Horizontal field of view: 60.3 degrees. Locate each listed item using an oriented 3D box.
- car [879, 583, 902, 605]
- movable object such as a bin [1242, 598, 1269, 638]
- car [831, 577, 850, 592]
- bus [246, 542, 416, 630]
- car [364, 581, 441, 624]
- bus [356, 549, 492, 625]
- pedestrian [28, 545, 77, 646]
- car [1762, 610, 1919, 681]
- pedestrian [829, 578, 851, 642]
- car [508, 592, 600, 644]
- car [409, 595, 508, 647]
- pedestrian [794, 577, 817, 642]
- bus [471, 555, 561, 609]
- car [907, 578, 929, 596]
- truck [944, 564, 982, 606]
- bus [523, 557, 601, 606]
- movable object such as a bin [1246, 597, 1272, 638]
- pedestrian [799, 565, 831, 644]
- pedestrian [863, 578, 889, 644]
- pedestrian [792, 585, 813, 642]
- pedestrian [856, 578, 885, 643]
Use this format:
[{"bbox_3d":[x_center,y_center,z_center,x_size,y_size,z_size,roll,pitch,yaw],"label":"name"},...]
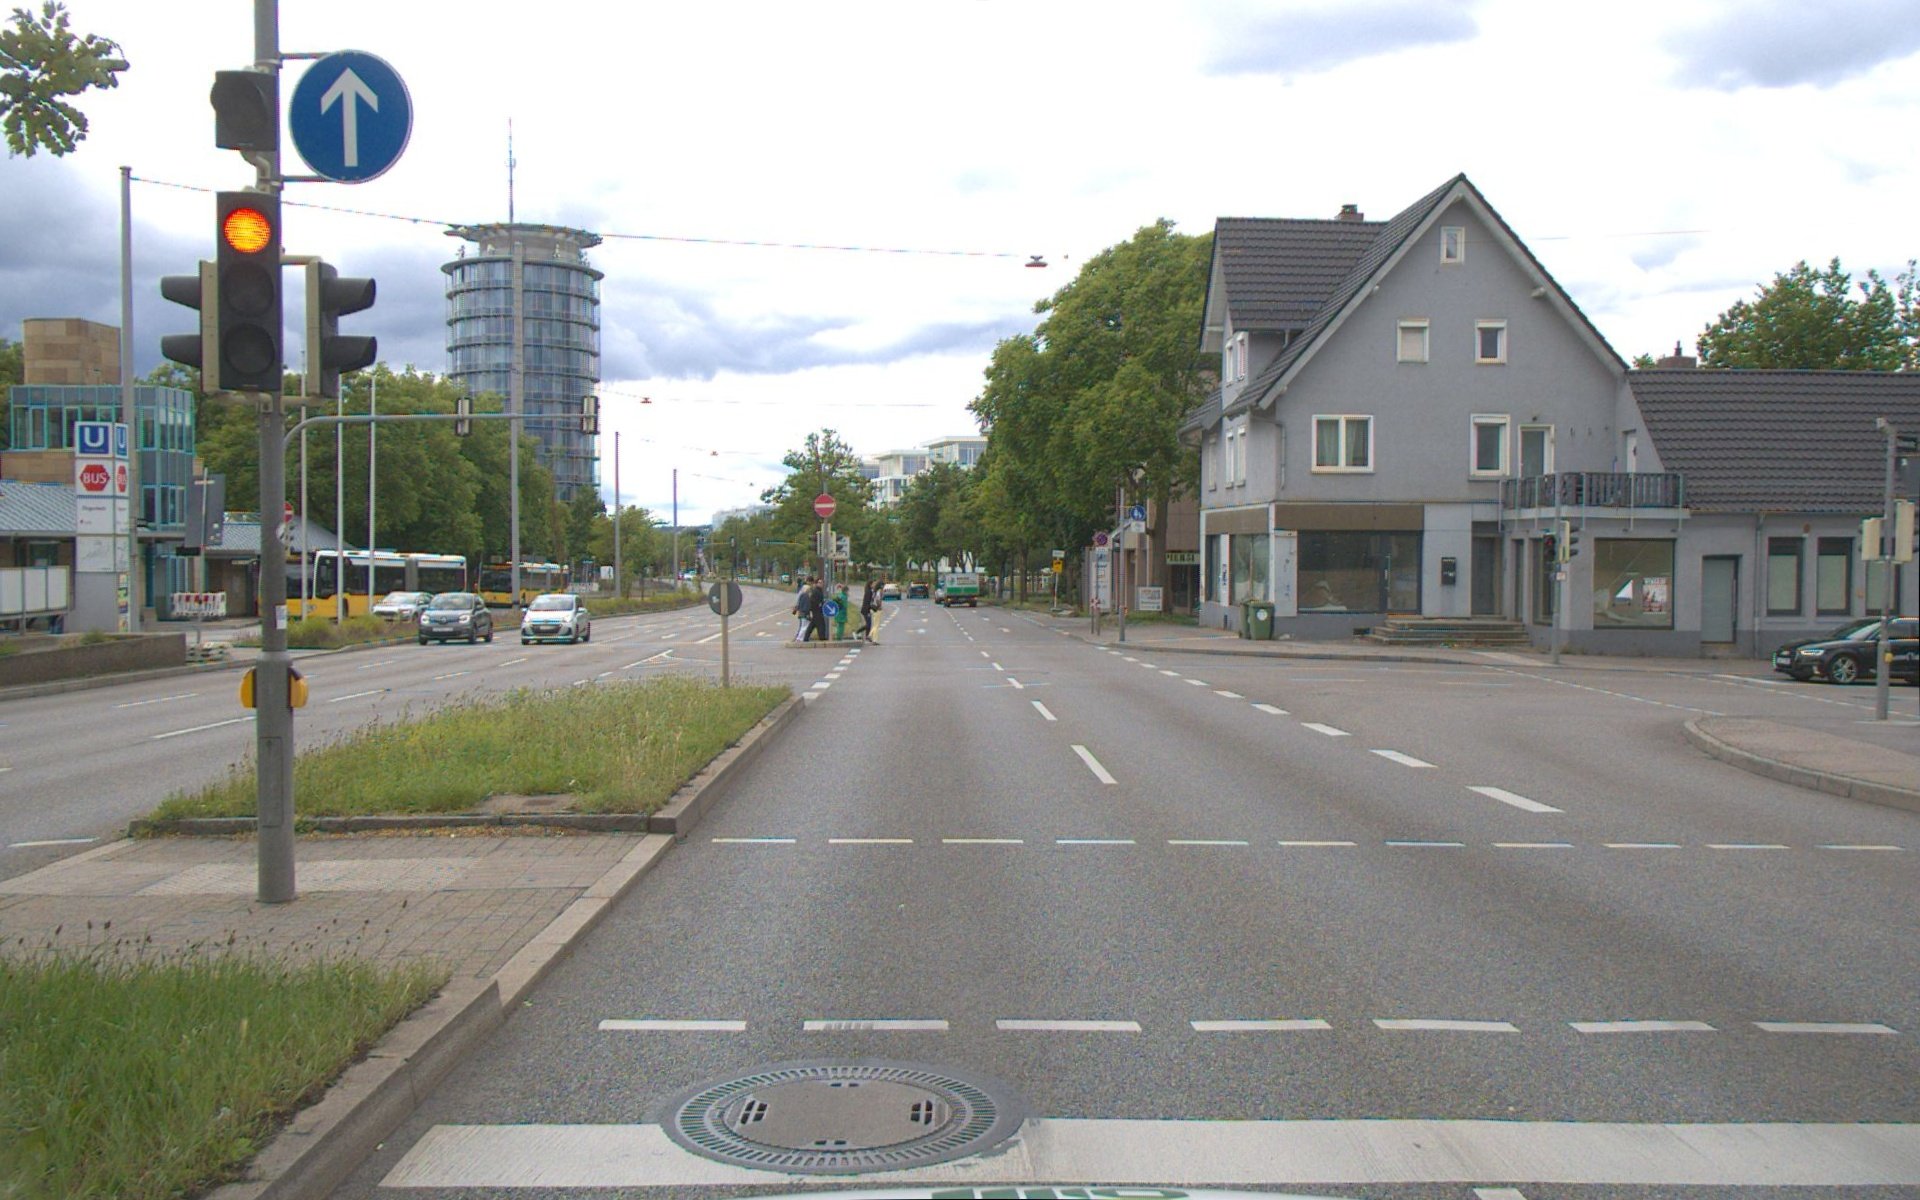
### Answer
[{"bbox_3d":[-6.014,-0.551,143.289,1.953,1.862,3.999,0,0,-1],"label":"car"},{"bbox_3d":[7.947,0.472,44.529,0.603,1.061,0.589,1,0,1],"label":"movable object such as a bin"},{"bbox_3d":[-12.736,-1.627,175.953,1.954,1.545,3.996,0,1,-5],"label":"car"},{"bbox_3d":[-27.042,-0.583,71.840,2.772,3.490,10.737,0,0,3],"label":"bus"},{"bbox_3d":[-22.721,0.104,67.566,1.769,1.691,4.000,0,0,0],"label":"car"},{"bbox_3d":[-26.495,-0.630,82.431,2.772,3.490,10.737,0,0,3],"label":"bus"},{"bbox_3d":[-18.666,-0.096,34.035,0.668,2.049,0.645,0,0,-5],"label":"pedestrian"},{"bbox_3d":[19.567,0.973,35.337,4.006,1.395,1.799,2,0,-2],"label":"car"},{"bbox_3d":[-3.335,0.274,45.838,0.572,1.746,0.545,0,0,-8],"label":"pedestrian"},{"bbox_3d":[-12.398,0.530,50.742,1.953,1.512,3.998,-1,0,-2],"label":"car"},{"bbox_3d":[-15.446,0.617,51.111,1.953,1.512,3.998,-1,0,-2],"label":"car"},{"bbox_3d":[-4.204,0.256,45.079,0.601,1.746,0.545,0,0,-8],"label":"pedestrian"},{"bbox_3d":[-30.369,-1.183,113.640,2.772,3.490,10.737,0,0,3],"label":"bus"},{"bbox_3d":[-3.755,-1.162,149.172,1.953,1.579,3.999,1,0,-1],"label":"car"},{"bbox_3d":[0.185,-1.041,110.893,2.420,2.656,6.548,1,1,0],"label":"truck"},{"bbox_3d":[-29.803,-1.328,124.389,2.772,3.490,10.737,0,0,3],"label":"bus"},{"bbox_3d":[7.958,0.465,44.021,0.592,1.078,0.589,1,0,1],"label":"movable object such as a bin"},{"bbox_3d":[-3.832,0.113,43.649,0.814,2.049,0.545,0,0,-8],"label":"pedestrian"},{"bbox_3d":[-2.240,0.297,44.125,0.641,1.746,0.451,0,0,-8],"label":"pedestrian"},{"bbox_3d":[-4.205,0.357,44.217,0.533,1.522,0.485,0,0,-9],"label":"pedestrian"},{"bbox_3d":[-2.419,0.276,44.640,0.731,1.746,0.582,0,0,-8],"label":"pedestrian"}]
